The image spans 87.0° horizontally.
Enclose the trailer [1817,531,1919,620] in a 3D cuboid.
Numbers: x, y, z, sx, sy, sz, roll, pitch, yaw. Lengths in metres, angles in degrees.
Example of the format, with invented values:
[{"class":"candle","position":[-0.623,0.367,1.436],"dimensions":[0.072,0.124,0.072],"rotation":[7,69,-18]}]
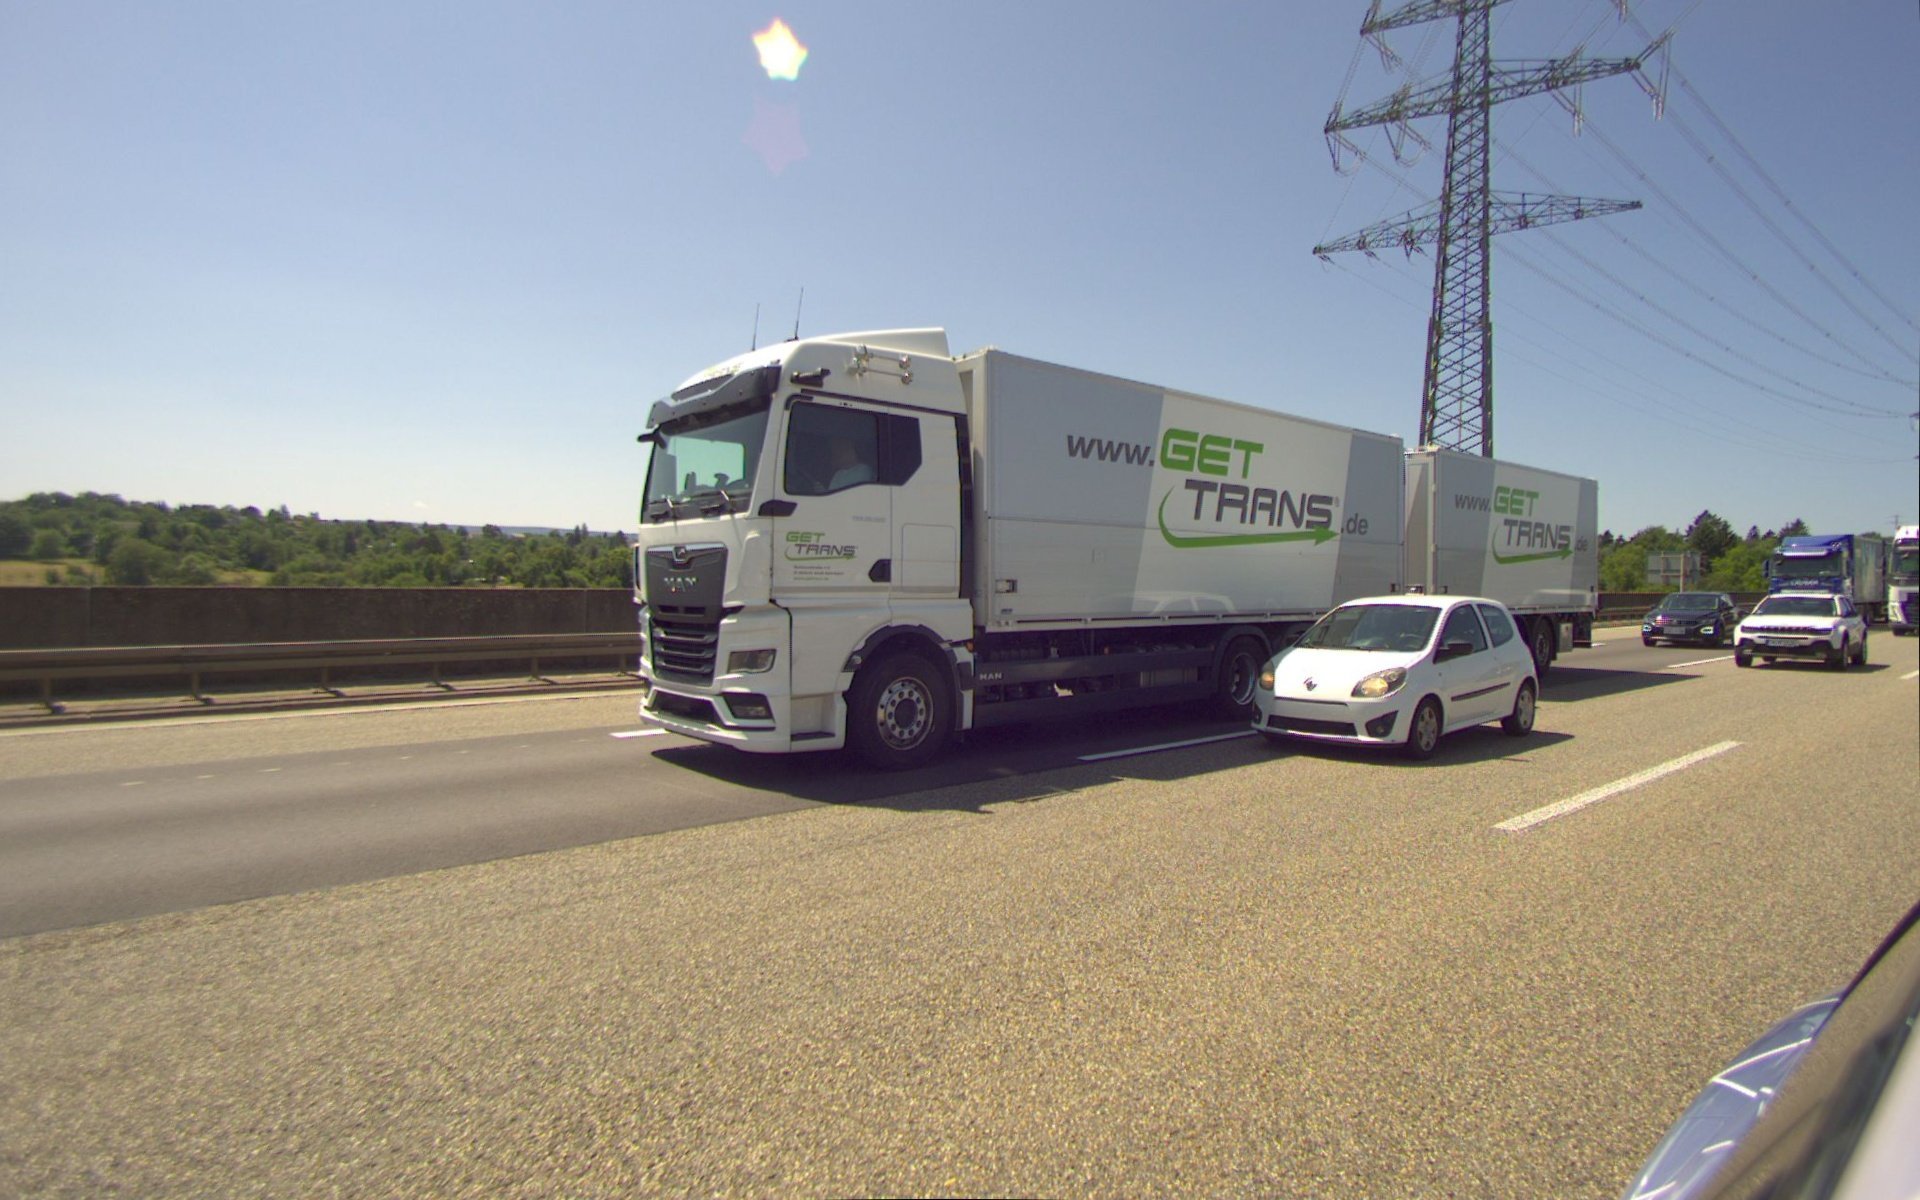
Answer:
[{"class":"trailer","position":[45.365,-1.207,50.240],"dimensions":[10.694,4.044,2.542],"rotation":[-1,1,-40]}]

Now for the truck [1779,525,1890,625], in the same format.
[{"class":"truck","position":[38.317,-1.038,44.244],"dimensions":[7.787,4.018,2.515],"rotation":[0,0,-41]}]

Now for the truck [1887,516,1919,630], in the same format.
[{"class":"truck","position":[36.053,-1.000,36.652],"dimensions":[6.624,3.941,2.911],"rotation":[-1,1,-41]}]

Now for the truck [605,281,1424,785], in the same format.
[{"class":"truck","position":[1.590,-0.525,11.878],"dimensions":[10.579,3.648,2.856],"rotation":[0,0,-41]}]

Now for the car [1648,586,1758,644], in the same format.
[{"class":"car","position":[21.065,0.362,28.650],"dimensions":[3.820,1.524,1.708],"rotation":[-1,1,-40]}]

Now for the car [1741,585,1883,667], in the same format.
[{"class":"car","position":[17.817,0.462,21.116],"dimensions":[3.688,1.554,1.720],"rotation":[-1,1,-41]}]

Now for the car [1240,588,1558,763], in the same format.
[{"class":"car","position":[4.557,0.618,10.298],"dimensions":[3.566,1.458,1.583],"rotation":[-1,1,-40]}]

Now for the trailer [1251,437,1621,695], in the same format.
[{"class":"trailer","position":[8.745,-0.518,17.989],"dimensions":[8.145,3.640,2.850],"rotation":[-1,0,-40]}]

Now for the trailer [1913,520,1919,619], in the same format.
[{"class":"trailer","position":[42.149,-1.292,41.977],"dimensions":[9.605,3.917,2.895],"rotation":[-1,1,-41]}]
